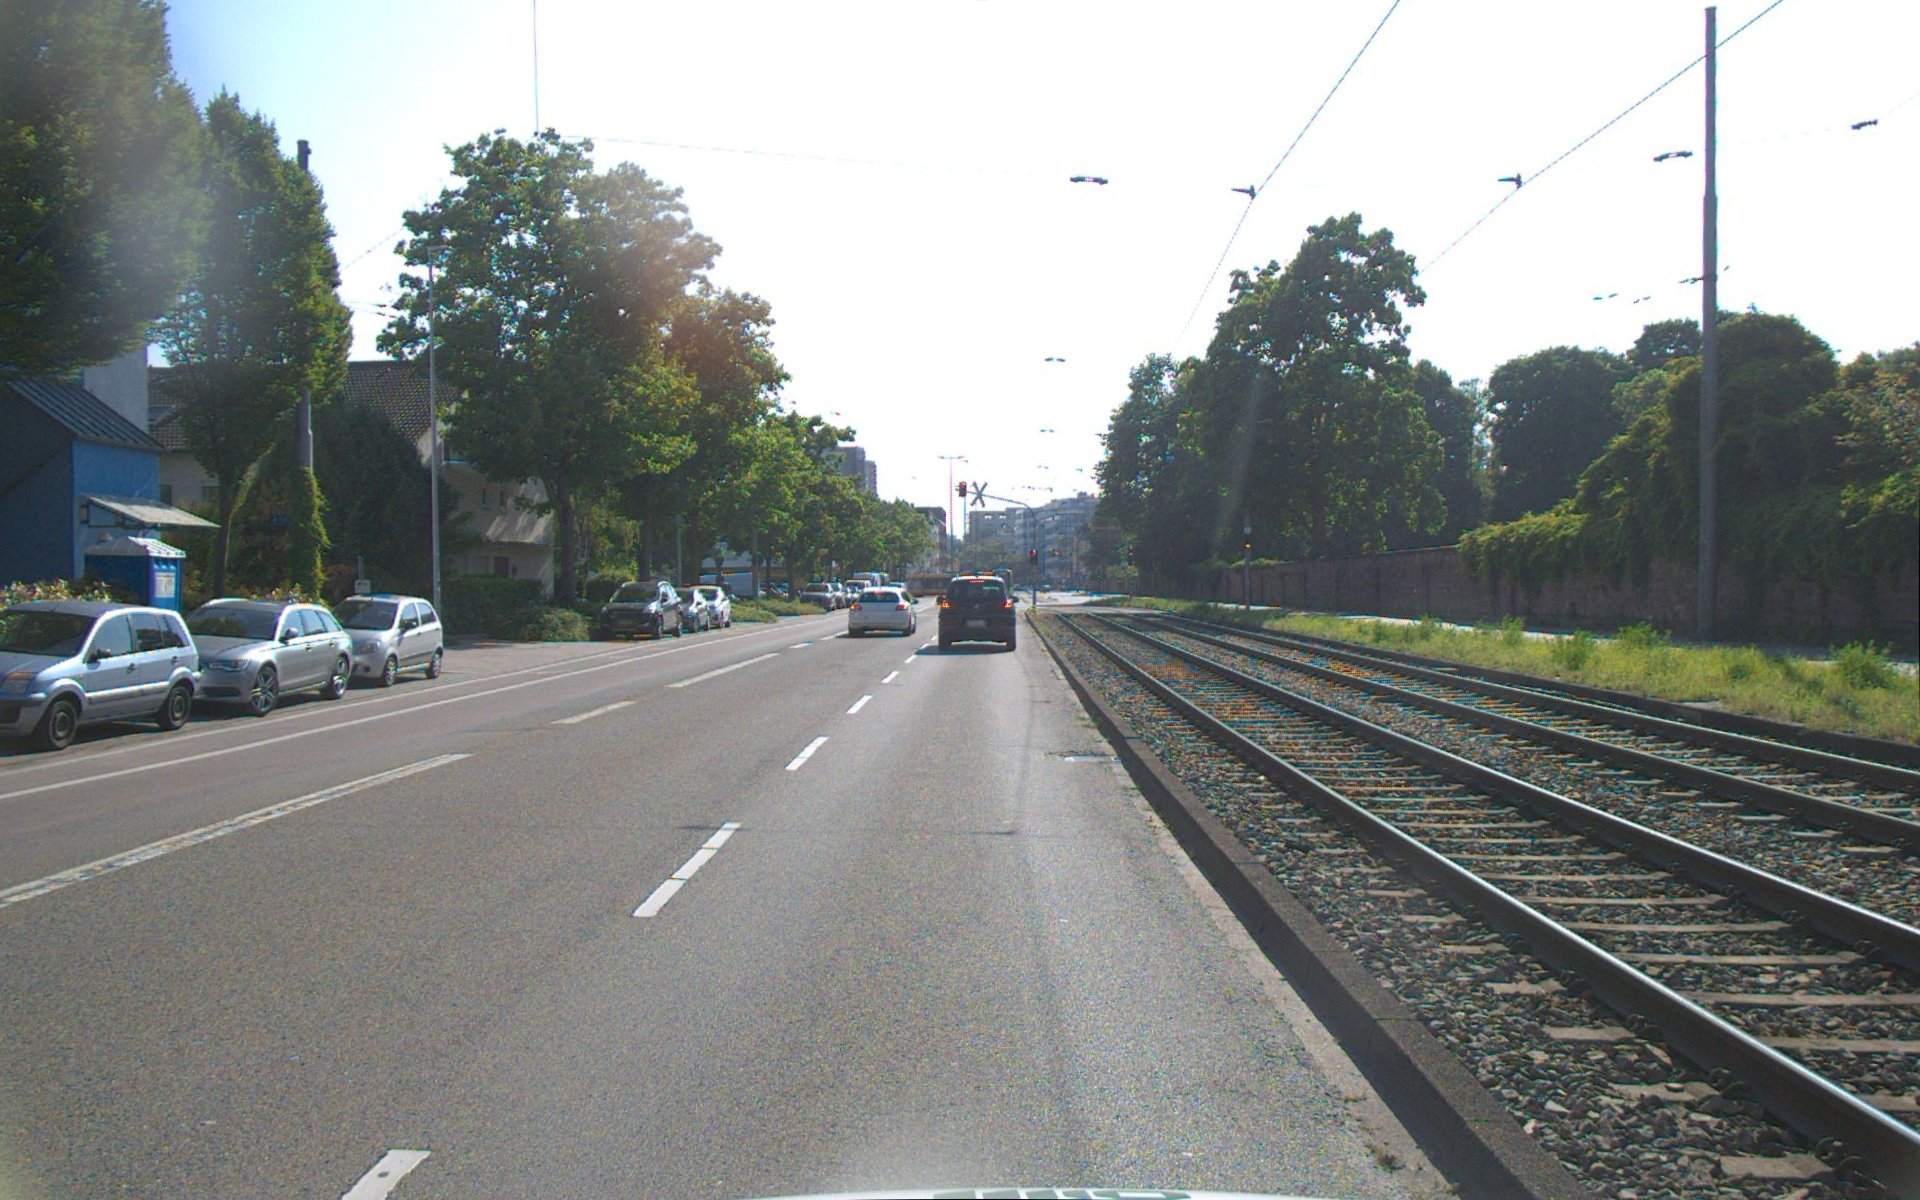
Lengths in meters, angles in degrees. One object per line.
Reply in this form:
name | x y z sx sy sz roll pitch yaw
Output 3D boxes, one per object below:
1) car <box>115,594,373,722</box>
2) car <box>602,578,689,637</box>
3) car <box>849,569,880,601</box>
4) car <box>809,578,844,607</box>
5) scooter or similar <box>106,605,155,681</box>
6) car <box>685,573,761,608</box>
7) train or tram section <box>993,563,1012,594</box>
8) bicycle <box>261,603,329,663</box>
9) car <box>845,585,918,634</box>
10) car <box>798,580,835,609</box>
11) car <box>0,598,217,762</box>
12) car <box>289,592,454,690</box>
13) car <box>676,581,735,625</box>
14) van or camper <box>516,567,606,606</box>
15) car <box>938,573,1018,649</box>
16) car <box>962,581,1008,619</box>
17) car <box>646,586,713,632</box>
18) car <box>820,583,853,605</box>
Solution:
car | -10.352 0.764 24.335 1.713 1.537 4.755 4 1 -1
car | -9.680 0.204 51.207 1.676 1.723 4.424 -1 1 2
car | -7.438 -1.196 129.686 1.824 2.388 4.987 -1 1 3
car | -8.479 -0.480 105.516 1.695 1.724 4.002 -1 1 3
scooter or similar | -13.255 0.680 26.438 0.288 1.174 1.042 -1 1 -3
car | -17.640 -0.708 123.156 5.264 2.466 2.088 -1 1 2
train or tram section | 5.203 -2.664 201.309 2.278 3.632 8.902 -1 1 2
bicycle | -13.375 0.642 33.321 0.434 1.174 1.786 -1 0 8
car | -2.243 0.249 48.175 1.826 1.371 4.001 0 1 2
car | -8.644 -0.364 99.893 1.695 1.686 4.002 -1 1 3
car | -10.542 0.832 19.323 1.726 1.565 3.982 4 1 2
car | -10.431 0.675 29.558 1.568 1.520 3.510 4 1 1
car | -9.591 0.074 62.555 1.568 1.577 3.895 1 1 1
van or camper | -30.879 -1.049 128.218 6.329 2.918 2.308 0 0 2
car | 0.463 0.224 38.661 1.774 1.673 4.001 0 0 2
car | 1.040 -0.036 67.464 1.774 1.474 4.001 1 1 1
car | -9.618 0.280 56.914 1.642 1.494 3.968 -1 1 0
car | -8.324 -0.411 111.827 1.695 1.413 3.737 -1 1 3
